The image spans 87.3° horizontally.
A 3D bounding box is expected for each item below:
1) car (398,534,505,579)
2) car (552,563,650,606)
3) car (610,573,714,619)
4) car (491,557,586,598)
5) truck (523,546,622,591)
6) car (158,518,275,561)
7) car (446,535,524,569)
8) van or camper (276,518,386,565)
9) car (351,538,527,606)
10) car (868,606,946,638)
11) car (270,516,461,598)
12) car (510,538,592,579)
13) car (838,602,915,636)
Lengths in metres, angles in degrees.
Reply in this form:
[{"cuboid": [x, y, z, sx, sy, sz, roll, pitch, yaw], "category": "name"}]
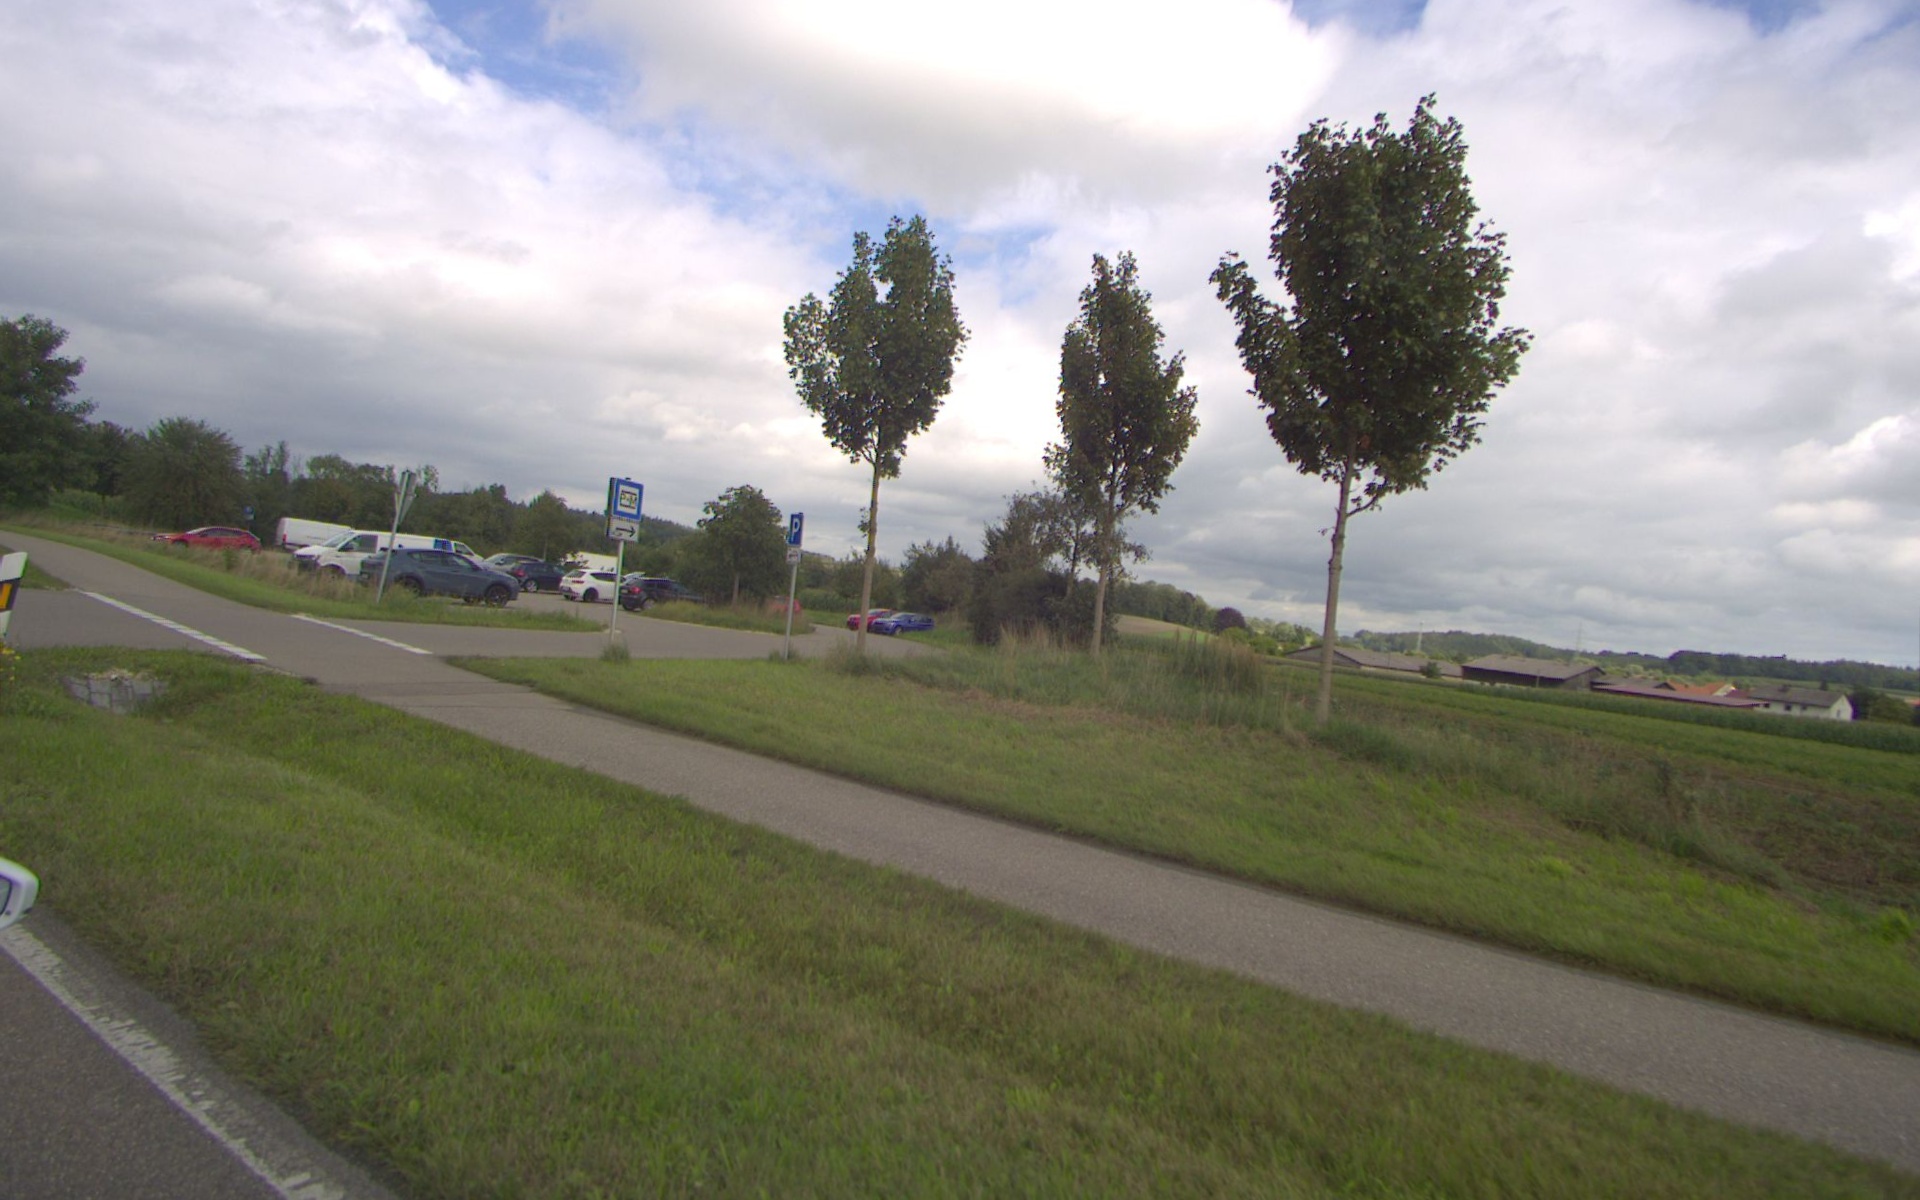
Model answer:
[{"cuboid": [-29.688, -2.541, 58.857, 2.199, 2.026, 5.020, 7, 1, 39], "category": "car"}, {"cuboid": [-15.852, -0.678, 44.565, 1.732, 1.408, 3.689, 7, -1, 35], "category": "car"}, {"cuboid": [-12.188, -0.143, 41.341, 1.705, 1.408, 3.684, 7, -1, 40], "category": "car"}, {"cuboid": [-19.845, -1.044, 47.451, 1.732, 1.408, 3.689, 7, -1, 35], "category": "car"}, {"cuboid": [-31.810, -2.529, 82.827, 2.793, 2.747, 6.870, 7, -1, 42], "category": "truck"}, {"cuboid": [-37.329, -3.044, 50.610, 1.942, 1.595, 4.324, 7, 0, 39], "category": "car"}, {"cuboid": [-30.843, -3.122, 65.418, 1.968, 1.615, 3.991, 7, -1, 33], "category": "car"}, {"cuboid": [-48.094, -4.413, 77.072, 2.022, 2.592, 6.729, 7, -1, 43], "category": "van or camper"}, {"cuboid": [-15.623, -0.808, 30.327, 1.811, 1.586, 4.265, 7, 1, 40], "category": "car"}, {"cuboid": [-2.875, 1.210, 55.287, 1.911, 1.281, 3.979, 6, -1, 44], "category": "car"}, {"cuboid": [-19.534, -1.368, 33.246, 1.927, 1.998, 4.942, 7, -1, 40], "category": "car"}, {"cuboid": [-21.437, -2.169, 52.714, 3.659, 1.627, 1.746, 7, -1, -30], "category": "car"}, {"cuboid": [-4.740, 1.105, 57.450, 1.895, 1.455, 3.979, 6, -1, 44], "category": "car"}]
